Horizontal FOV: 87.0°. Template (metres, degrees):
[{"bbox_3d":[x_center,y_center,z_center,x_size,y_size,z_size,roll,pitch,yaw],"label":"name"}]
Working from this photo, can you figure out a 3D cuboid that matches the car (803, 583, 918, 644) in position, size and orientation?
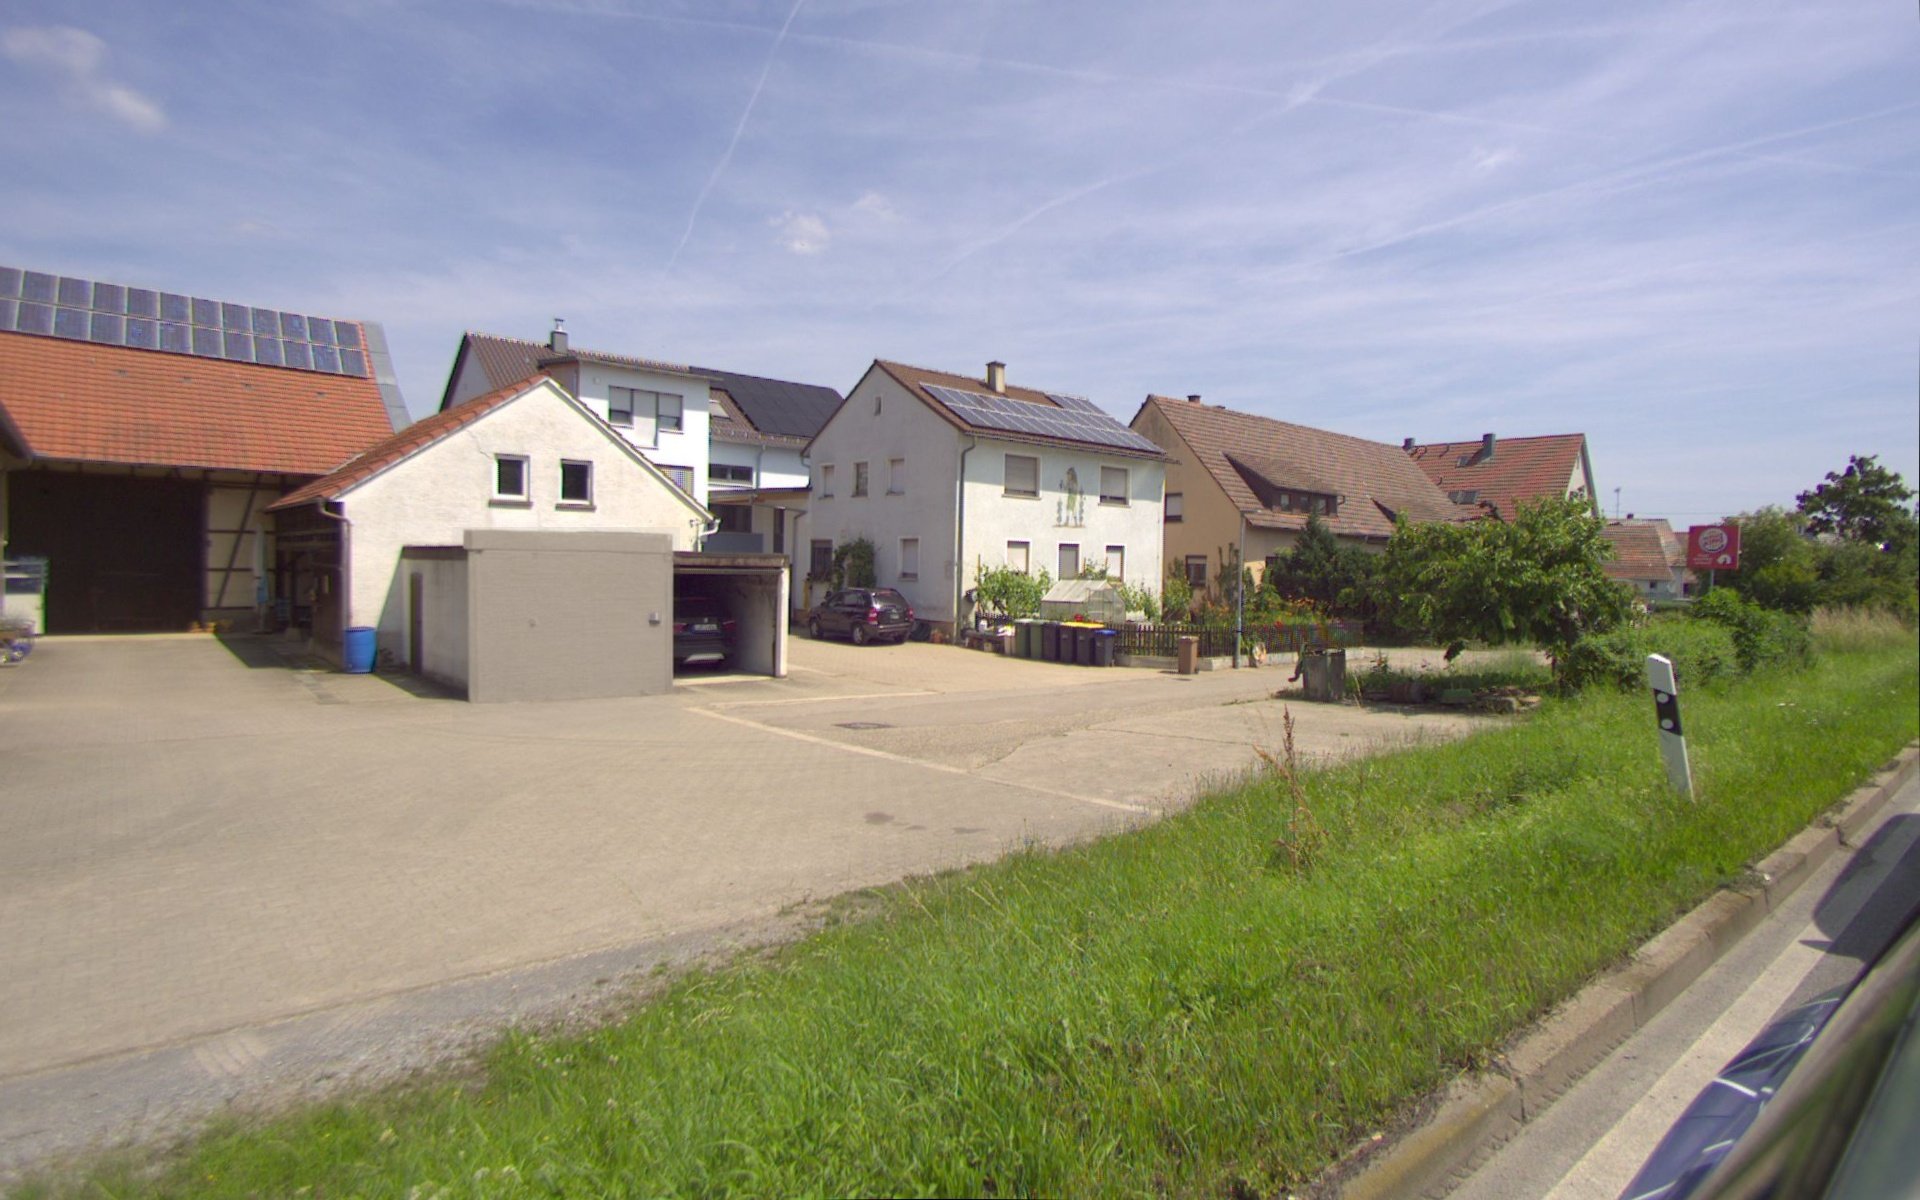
[{"bbox_3d":[-3.228,0.369,32.292,1.810,1.714,3.959,-1,3,-38],"label":"car"}]

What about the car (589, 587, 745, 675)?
[{"bbox_3d":[-6.408,0.583,21.863,1.802,1.597,3.996,-1,2,-40],"label":"car"}]
